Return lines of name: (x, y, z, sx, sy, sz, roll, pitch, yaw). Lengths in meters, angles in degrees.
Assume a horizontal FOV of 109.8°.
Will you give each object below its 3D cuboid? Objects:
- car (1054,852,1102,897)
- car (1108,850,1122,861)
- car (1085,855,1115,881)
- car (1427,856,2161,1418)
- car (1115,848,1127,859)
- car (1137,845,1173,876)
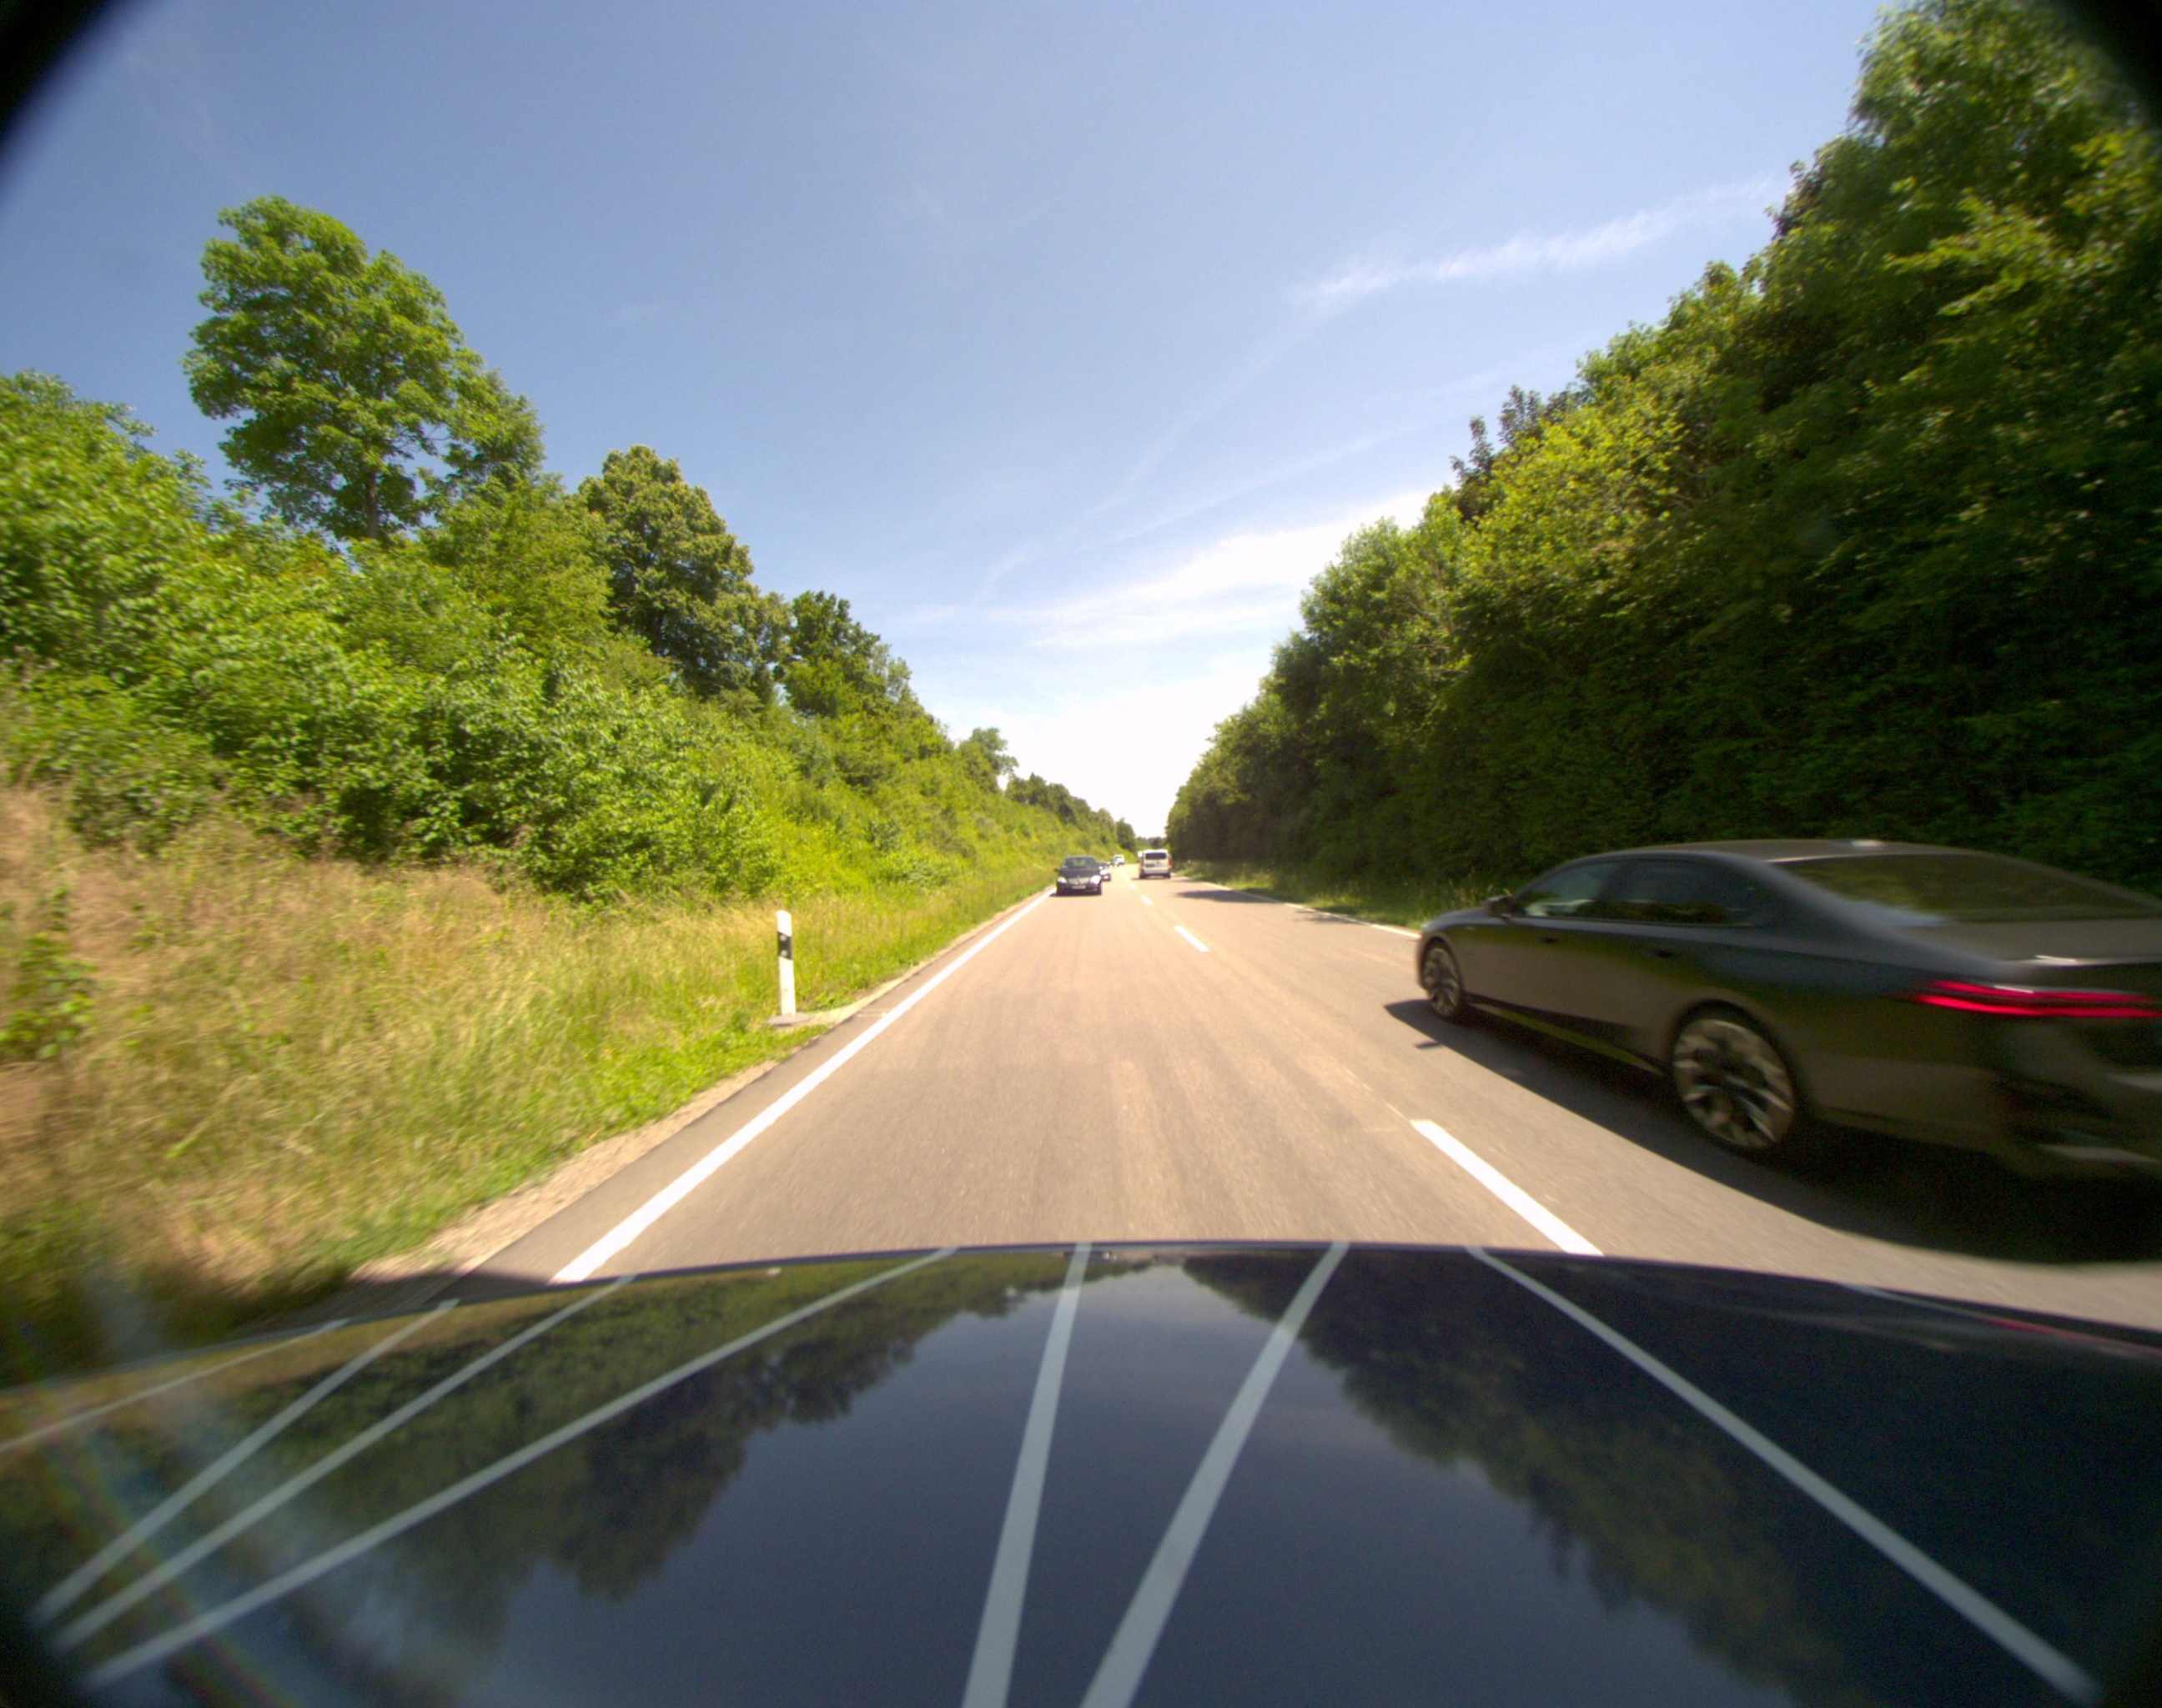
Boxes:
car: (-0.060, 0.769, 31.241, 1.783, 1.676, 4.779, -2, 0, 2)
car: (5.282, 0.219, 118.847, 2.045, 1.743, 4.167, -2, 0, 2)
car: (1.233, 0.828, 46.815, 1.709, 1.444, 5.415, -2, 0, 3)
car: (3.968, 0.798, 4.389, 1.864, 1.497, 4.586, -2, 0, 1)
car: (7.413, -0.098, 140.519, 1.998, 2.002, 4.001, -2, 0, 3)
car: (4.825, 0.419, 50.104, 1.936, 1.894, 5.327, -2, 0, 2)
